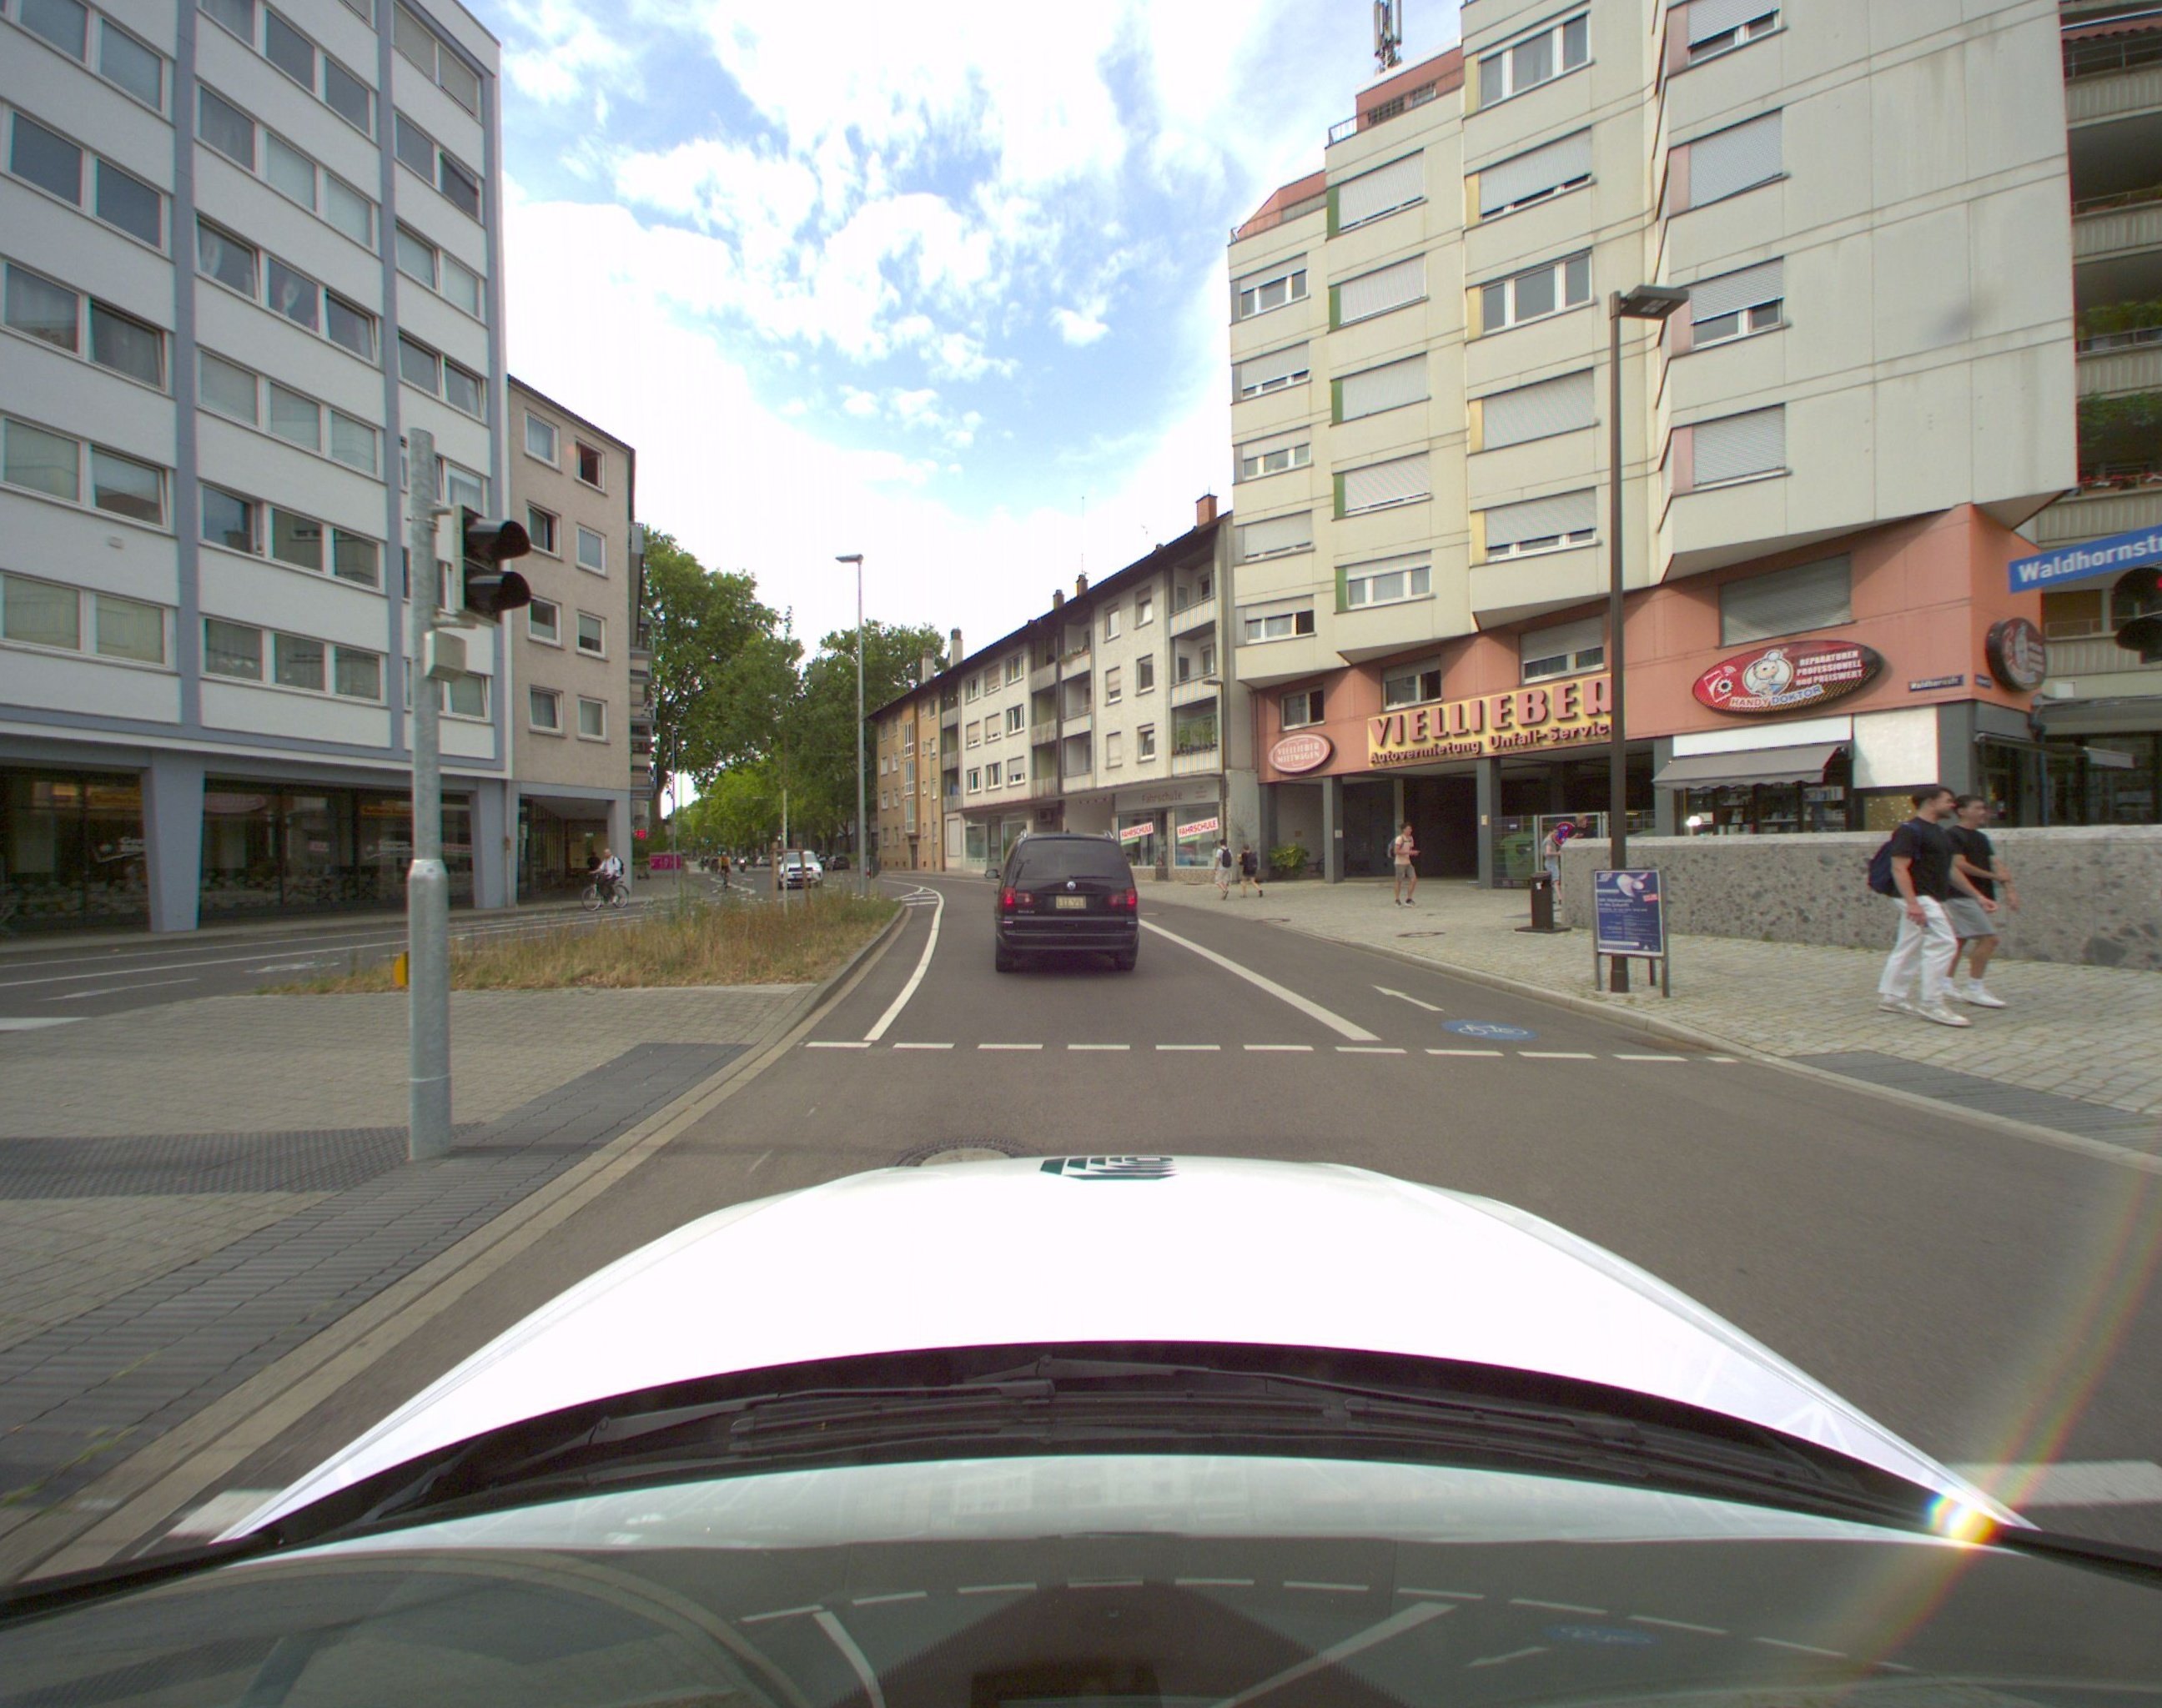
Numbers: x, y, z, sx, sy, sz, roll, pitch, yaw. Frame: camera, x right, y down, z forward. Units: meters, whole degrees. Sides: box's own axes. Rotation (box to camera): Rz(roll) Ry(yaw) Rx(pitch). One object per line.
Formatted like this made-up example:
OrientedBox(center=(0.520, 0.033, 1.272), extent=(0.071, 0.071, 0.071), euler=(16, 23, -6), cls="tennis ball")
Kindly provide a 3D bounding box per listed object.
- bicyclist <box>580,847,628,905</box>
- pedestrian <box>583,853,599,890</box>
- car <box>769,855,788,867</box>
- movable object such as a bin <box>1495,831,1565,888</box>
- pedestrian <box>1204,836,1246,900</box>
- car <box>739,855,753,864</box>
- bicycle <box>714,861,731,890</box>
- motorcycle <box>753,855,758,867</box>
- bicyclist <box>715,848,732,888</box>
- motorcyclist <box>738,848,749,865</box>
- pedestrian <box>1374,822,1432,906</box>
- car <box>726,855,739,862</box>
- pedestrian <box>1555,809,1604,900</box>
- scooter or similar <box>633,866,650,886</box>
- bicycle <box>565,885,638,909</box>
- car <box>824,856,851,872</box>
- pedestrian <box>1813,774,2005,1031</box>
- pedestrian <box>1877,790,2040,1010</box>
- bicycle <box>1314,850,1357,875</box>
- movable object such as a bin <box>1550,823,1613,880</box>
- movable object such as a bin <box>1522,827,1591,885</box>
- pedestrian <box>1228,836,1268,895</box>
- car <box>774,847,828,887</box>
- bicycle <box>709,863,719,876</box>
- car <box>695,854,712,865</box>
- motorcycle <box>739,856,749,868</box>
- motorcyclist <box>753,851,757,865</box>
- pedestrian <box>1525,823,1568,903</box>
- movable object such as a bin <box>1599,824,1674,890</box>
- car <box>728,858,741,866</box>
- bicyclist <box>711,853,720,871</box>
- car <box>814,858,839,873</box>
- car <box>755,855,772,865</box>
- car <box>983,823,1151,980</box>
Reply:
OrientedBox(center=(-13.957, 0.623, 23.829), extent=(0.603, 1.646, 1.042), euler=(-1, 0, 18), cls="bicyclist")
OrientedBox(center=(-23.514, 0.838, 39.090), extent=(0.585, 1.757, 0.776), euler=(1, -1, -30), cls="pedestrian")
OrientedBox(center=(-39.168, 0.909, 105.326), extent=(1.640, 1.470, 4.275), euler=(0, -1, -30), cls="car")
OrientedBox(center=(11.877, 0.142, 21.568), extent=(1.153, 1.460, 1.212), euler=(-1, 0, -31), cls="movable object such as a bin")
OrientedBox(center=(4.149, 0.398, 23.561), extent=(0.754, 1.750, 0.853), euler=(-5, 2, -21), cls="pedestrian")
OrientedBox(center=(-55.444, 0.850, 134.756), extent=(1.653, 1.413, 3.380), euler=(0, 0, -33), cls="car")
OrientedBox(center=(-15.850, 0.932, 35.987), extent=(0.515, 1.225, 1.548), euler=(-1, 0, -30), cls="bicycle")
OrientedBox(center=(-39.425, 0.837, 98.574), extent=(0.375, 1.350, 1.715), euler=(-1, 0, -29), cls="motorcycle")
OrientedBox(center=(-15.856, 0.619, 36.099), extent=(0.541, 1.743, 0.750), euler=(-1, 0, -33), cls="bicyclist")
OrientedBox(center=(-30.773, 0.233, 74.321), extent=(0.800, 1.460, 0.857), euler=(-3, 0, -27), cls="motorcyclist")
OrientedBox(center=(7.387, 0.228, 18.694), extent=(0.660, 1.852, 0.963), euler=(-4, 1, -26), cls="pedestrian")
OrientedBox(center=(-65.270, 0.864, 152.472), extent=(1.686, 1.394, 3.841), euler=(0, -1, -30), cls="car")
OrientedBox(center=(10.780, 0.013, 17.616), extent=(0.676, 1.903, 0.584), euler=(-4, 1, -29), cls="pedestrian")
OrientedBox(center=(-27.904, 1.408, 51.689), extent=(1.162, 1.265, 0.288), euler=(-1, 0, 23), cls="scooter or similar")
OrientedBox(center=(-14.023, 1.246, 23.898), extent=(0.479, 0.588, 2.007), euler=(-1, 0, 18), cls="bicycle")
OrientedBox(center=(-23.752, 0.986, 79.236), extent=(1.668, 1.422, 3.829), euler=(-1, 1, -30), cls="car")
OrientedBox(center=(6.943, 0.353, 6.849), extent=(0.724, 1.971, 1.003), euler=(-4, 2, -35), cls="pedestrian")
OrientedBox(center=(7.788, 0.366, 7.240), extent=(0.679, 1.799, 0.877), euler=(-4, 2, -35), cls="pedestrian")
OrientedBox(center=(9.390, 0.301, 30.133), extent=(0.455, 0.896, 1.662), euler=(-1, 1, -30), cls="bicycle")
OrientedBox(center=(13.989, -0.072, 22.774), extent=(1.008, 1.515, 1.156), euler=(-1, 0, -31), cls="movable object such as a bin")
OrientedBox(center=(12.944, 0.037, 22.186), extent=(1.201, 1.515, 1.185), euler=(-1, 0, -31), cls="movable object such as a bin")
OrientedBox(center=(4.909, 0.342, 23.980), extent=(0.608, 1.668, 0.934), euler=(-4, 1, -31), cls="pedestrian")
OrientedBox(center=(-12.483, 0.547, 36.488), extent=(1.834, 1.660, 4.305), euler=(-1, 0, -13), cls="car")
OrientedBox(center=(-31.818, 1.326, 70.531), extent=(0.741, 1.007, 1.893), euler=(1, 0, -25), cls="bicycle")
OrientedBox(center=(-51.866, 0.781, 111.909), extent=(1.821, 1.408, 4.564), euler=(-1, 0, -30), cls="car")
OrientedBox(center=(-30.698, 0.715, 74.205), extent=(0.725, 1.094, 2.018), euler=(-3, 0, -26), cls="motorcycle")
OrientedBox(center=(-39.456, 0.518, 98.609), extent=(0.449, 1.647, 0.514), euler=(-1, 0, -29), cls="motorcyclist")
OrientedBox(center=(9.996, 0.180, 17.495), extent=(0.475, 1.672, 0.584), euler=(-4, 1, -29), cls="pedestrian")
OrientedBox(center=(13.221, 0.054, 19.397), extent=(1.150, 1.515, 1.078), euler=(-1, 0, -31), cls="movable object such as a bin")
OrientedBox(center=(-62.772, 1.400, 147.346), extent=(1.686, 1.394, 3.841), euler=(0, -1, -30), cls="car")
OrientedBox(center=(-31.824, 0.731, 70.979), extent=(0.660, 1.525, 0.994), euler=(1, 0, -25), cls="bicyclist")
OrientedBox(center=(-26.029, 1.127, 83.201), extent=(1.668, 1.422, 3.909), euler=(-1, 1, -30), cls="car")
OrientedBox(center=(-47.561, 0.927, 121.979), extent=(1.686, 1.394, 4.417), euler=(0, -1, -30), cls="car")
OrientedBox(center=(-0.363, 0.531, 11.184), extent=(1.812, 1.766, 3.726), euler=(0, 0, -9), cls="car")
